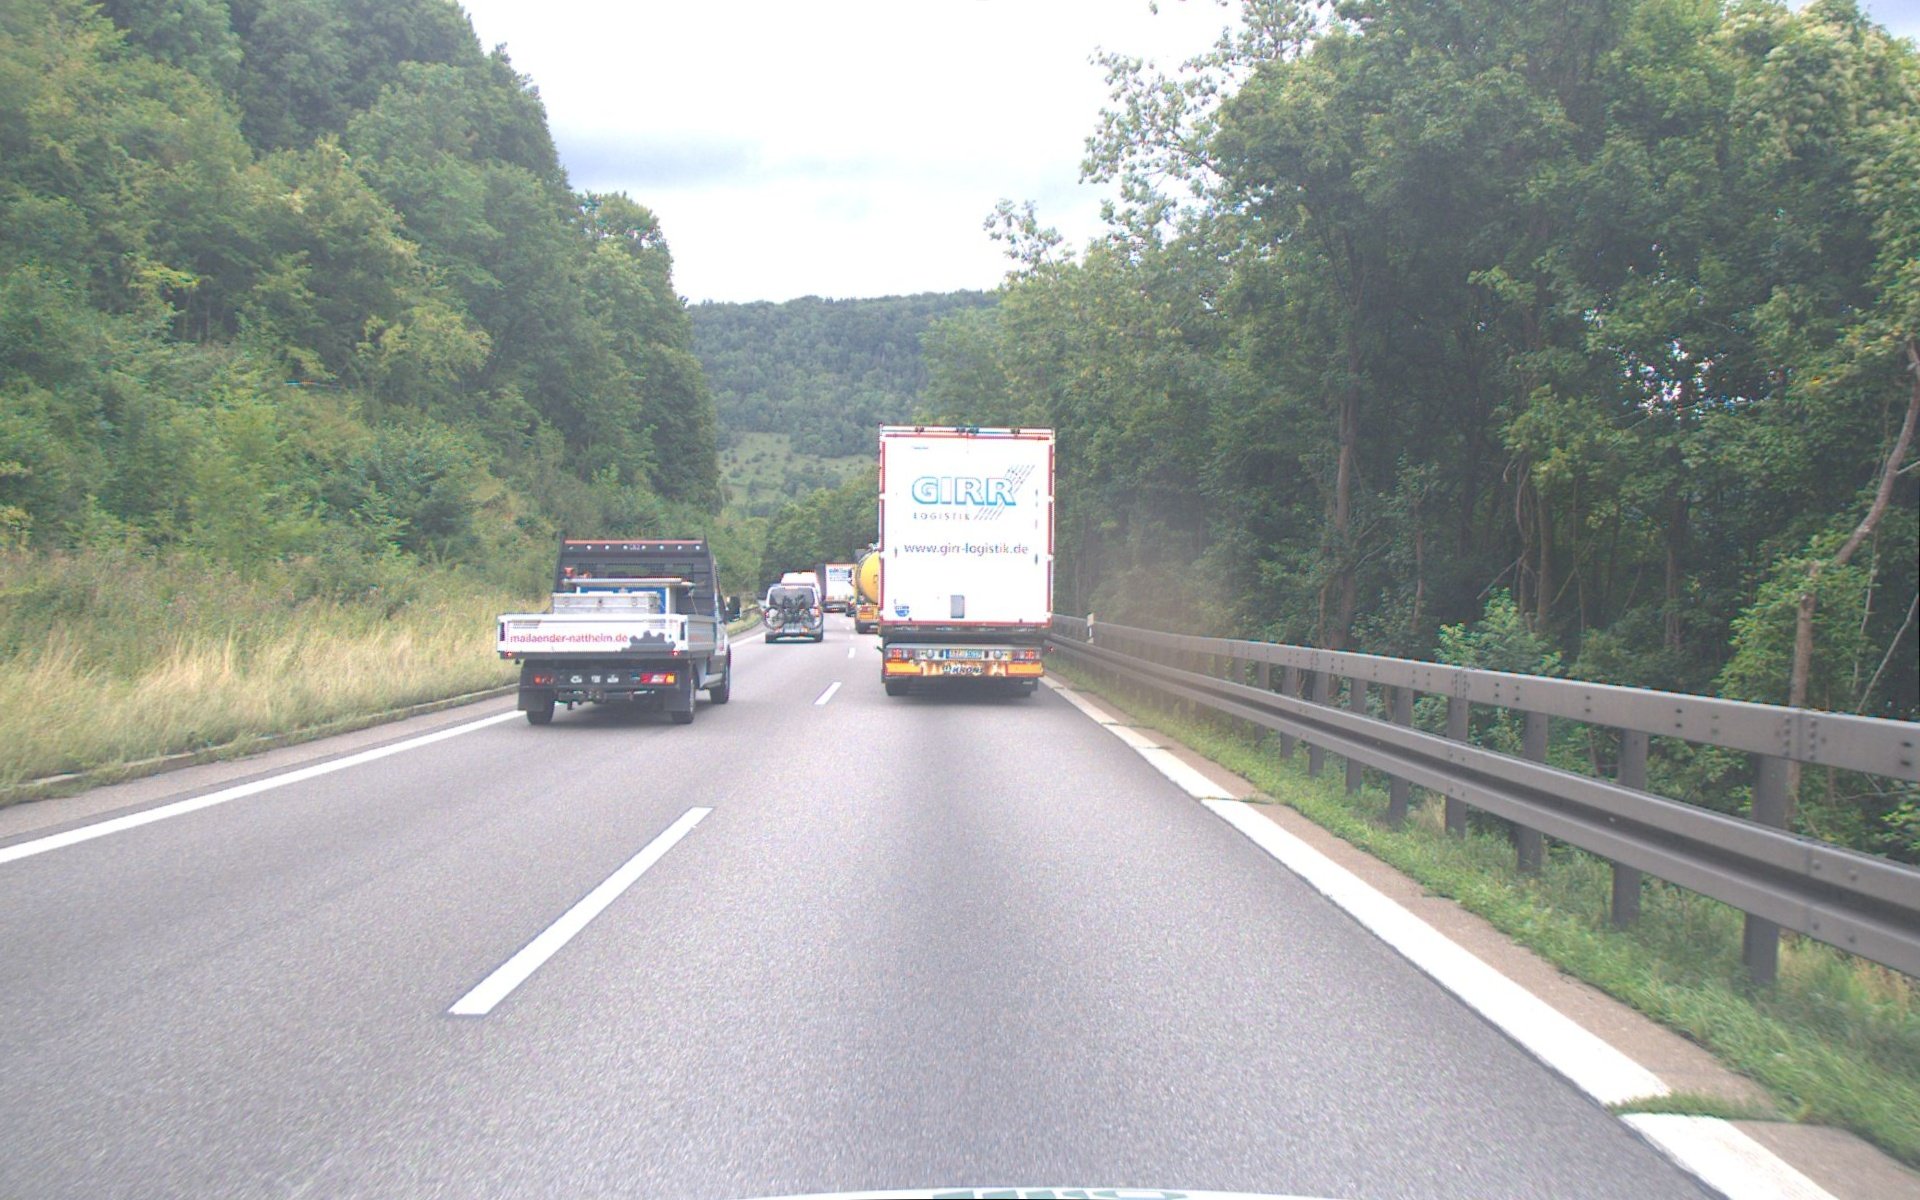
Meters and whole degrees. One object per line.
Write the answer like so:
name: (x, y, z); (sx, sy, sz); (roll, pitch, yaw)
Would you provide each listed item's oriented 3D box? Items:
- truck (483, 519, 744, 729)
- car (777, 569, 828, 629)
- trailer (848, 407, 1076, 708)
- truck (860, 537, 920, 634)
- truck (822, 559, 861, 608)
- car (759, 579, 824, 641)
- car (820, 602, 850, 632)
truck: (-4.307, 0.271, 21.882); (2.302, 2.313, 6.845); (1, 0, -3)
car: (-7.118, -0.063, 75.256); (2.081, 2.644, 5.560); (0, 0, -3)
trailer: (-0.140, -0.610, 28.008); (3.070, 4.113, 9.435); (2, 0, -2)
truck: (-2.904, -0.545, 69.880); (2.188, 3.870, 6.822); (1, 0, 0)
truck: (-9.956, -1.327, 138.787); (3.009, 3.945, 8.448); (1, 0, -5)
car: (-5.619, 0.294, 55.633); (1.978, 1.948, 5.558); (1, 0, -4)
car: (-8.873, 1.218, 117.165); (1.956, 2.049, 3.994); (1, 0, -7)
